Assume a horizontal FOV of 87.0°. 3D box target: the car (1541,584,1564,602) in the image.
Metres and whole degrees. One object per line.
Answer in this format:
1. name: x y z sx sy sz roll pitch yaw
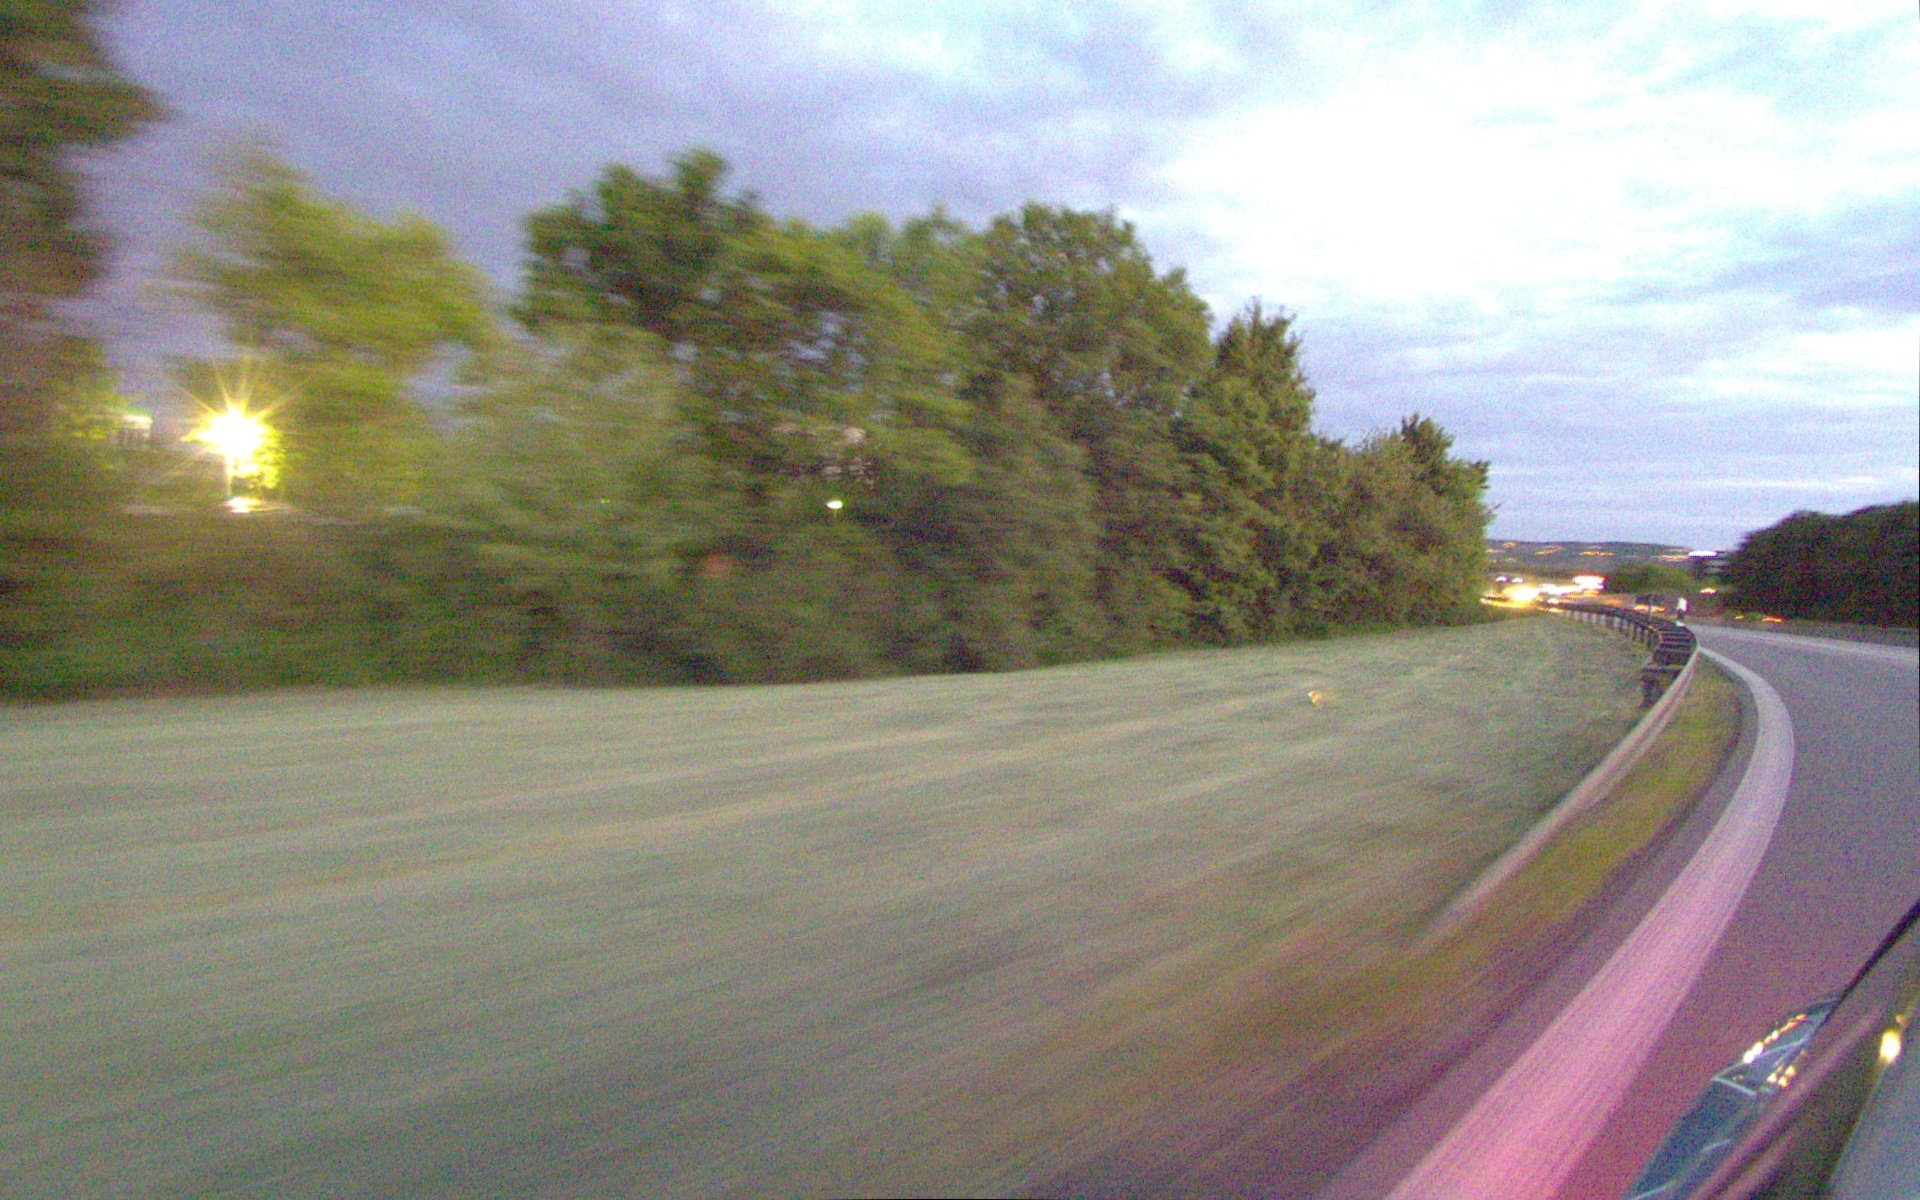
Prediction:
1. car: 75.655 -0.969 129.227 1.981 2.037 3.966 7 4 25

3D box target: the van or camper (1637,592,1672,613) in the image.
1. van or camper: 98.513 0.282 143.645 2.496 2.625 6.443 5 3 21

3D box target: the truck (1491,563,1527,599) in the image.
1. truck: 73.908 -2.613 136.415 3.324 4.369 11.225 6 4 25
